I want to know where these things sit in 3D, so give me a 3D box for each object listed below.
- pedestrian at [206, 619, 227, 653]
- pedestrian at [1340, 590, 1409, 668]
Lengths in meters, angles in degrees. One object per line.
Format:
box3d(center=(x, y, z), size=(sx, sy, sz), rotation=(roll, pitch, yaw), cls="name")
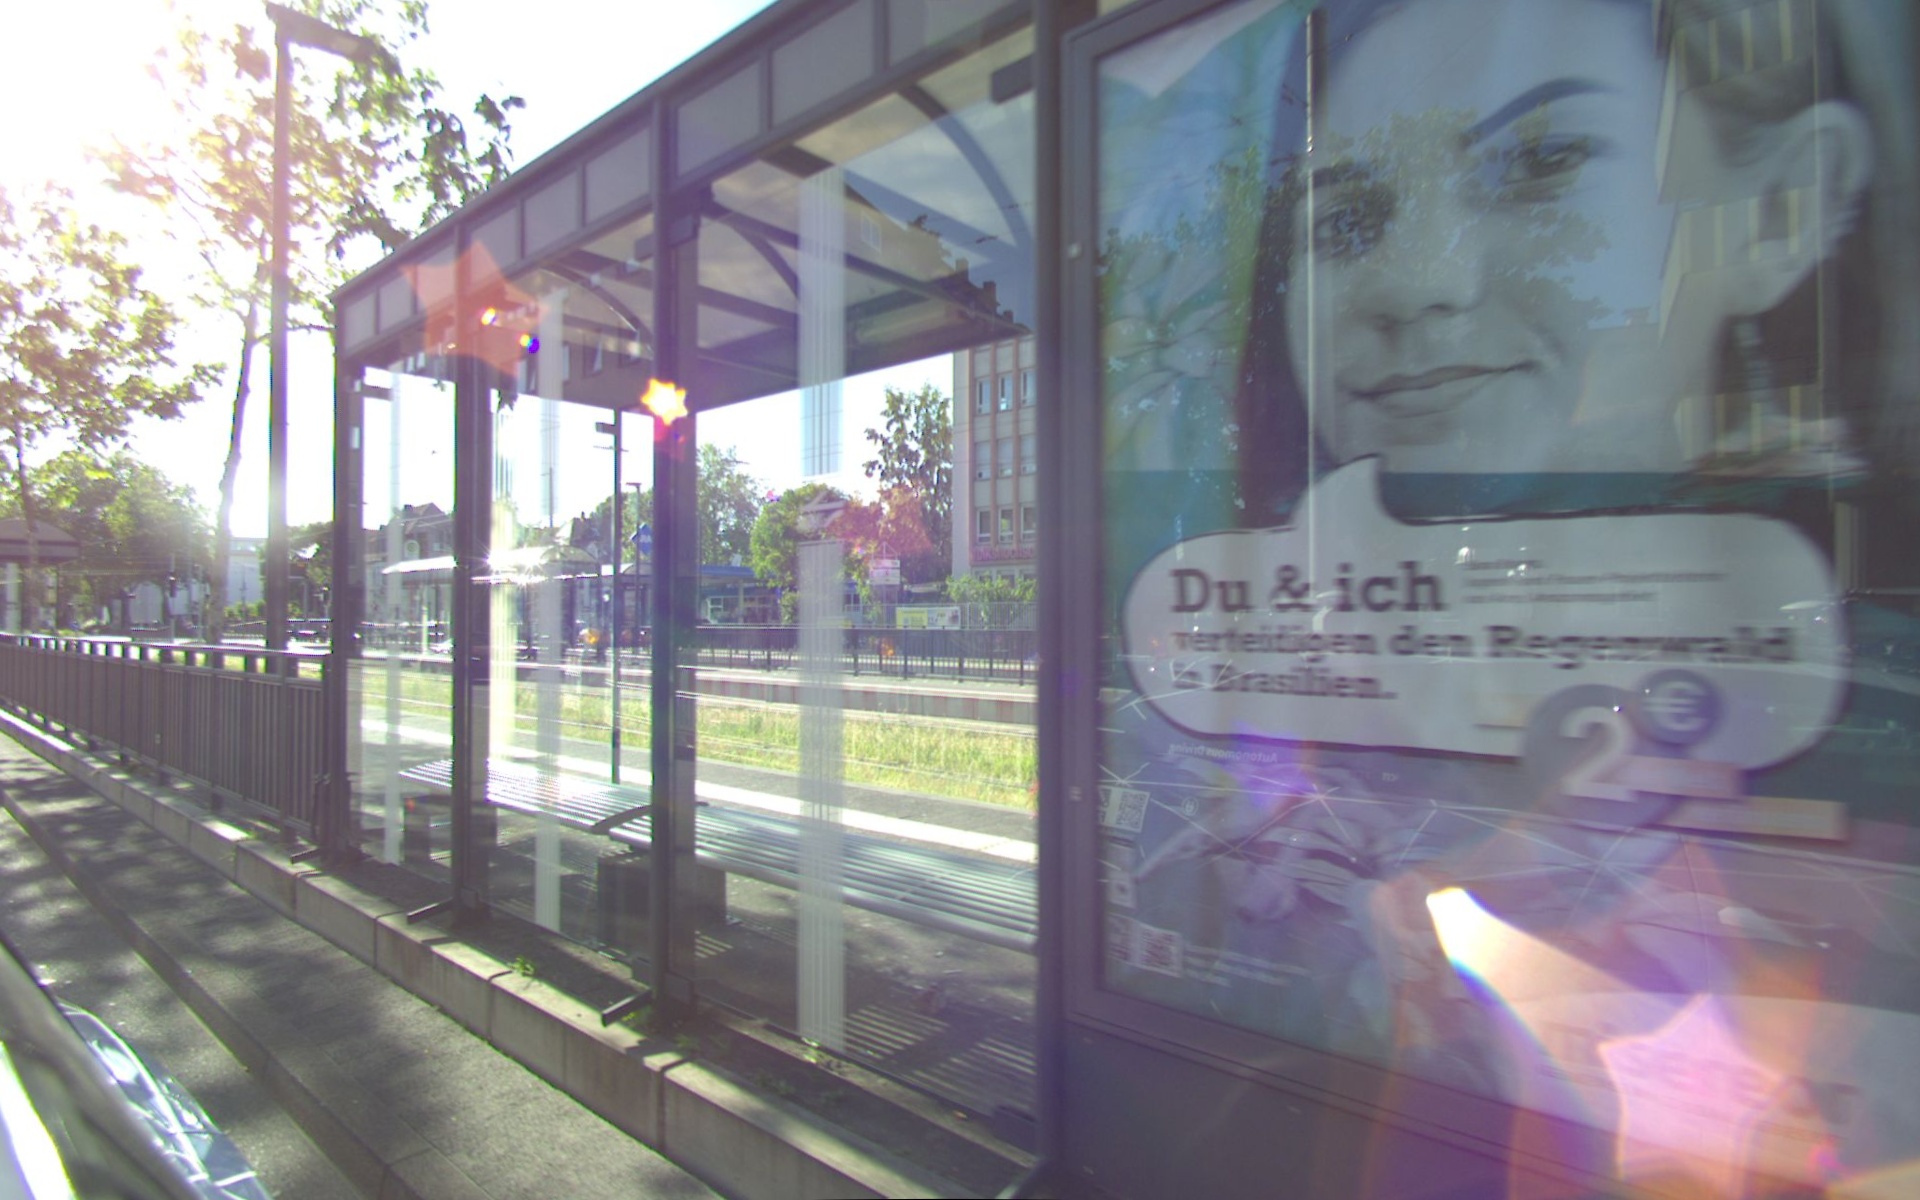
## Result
box3d(center=(-35.667, 1.707, 48.573), size=(0.735, 1.604, 0.677), rotation=(-2, -2, 42), cls="pedestrian")
box3d(center=(7.579, 0.522, 18.497), size=(0.879, 1.386, 0.965), rotation=(-2, -1, 41), cls="pedestrian")
